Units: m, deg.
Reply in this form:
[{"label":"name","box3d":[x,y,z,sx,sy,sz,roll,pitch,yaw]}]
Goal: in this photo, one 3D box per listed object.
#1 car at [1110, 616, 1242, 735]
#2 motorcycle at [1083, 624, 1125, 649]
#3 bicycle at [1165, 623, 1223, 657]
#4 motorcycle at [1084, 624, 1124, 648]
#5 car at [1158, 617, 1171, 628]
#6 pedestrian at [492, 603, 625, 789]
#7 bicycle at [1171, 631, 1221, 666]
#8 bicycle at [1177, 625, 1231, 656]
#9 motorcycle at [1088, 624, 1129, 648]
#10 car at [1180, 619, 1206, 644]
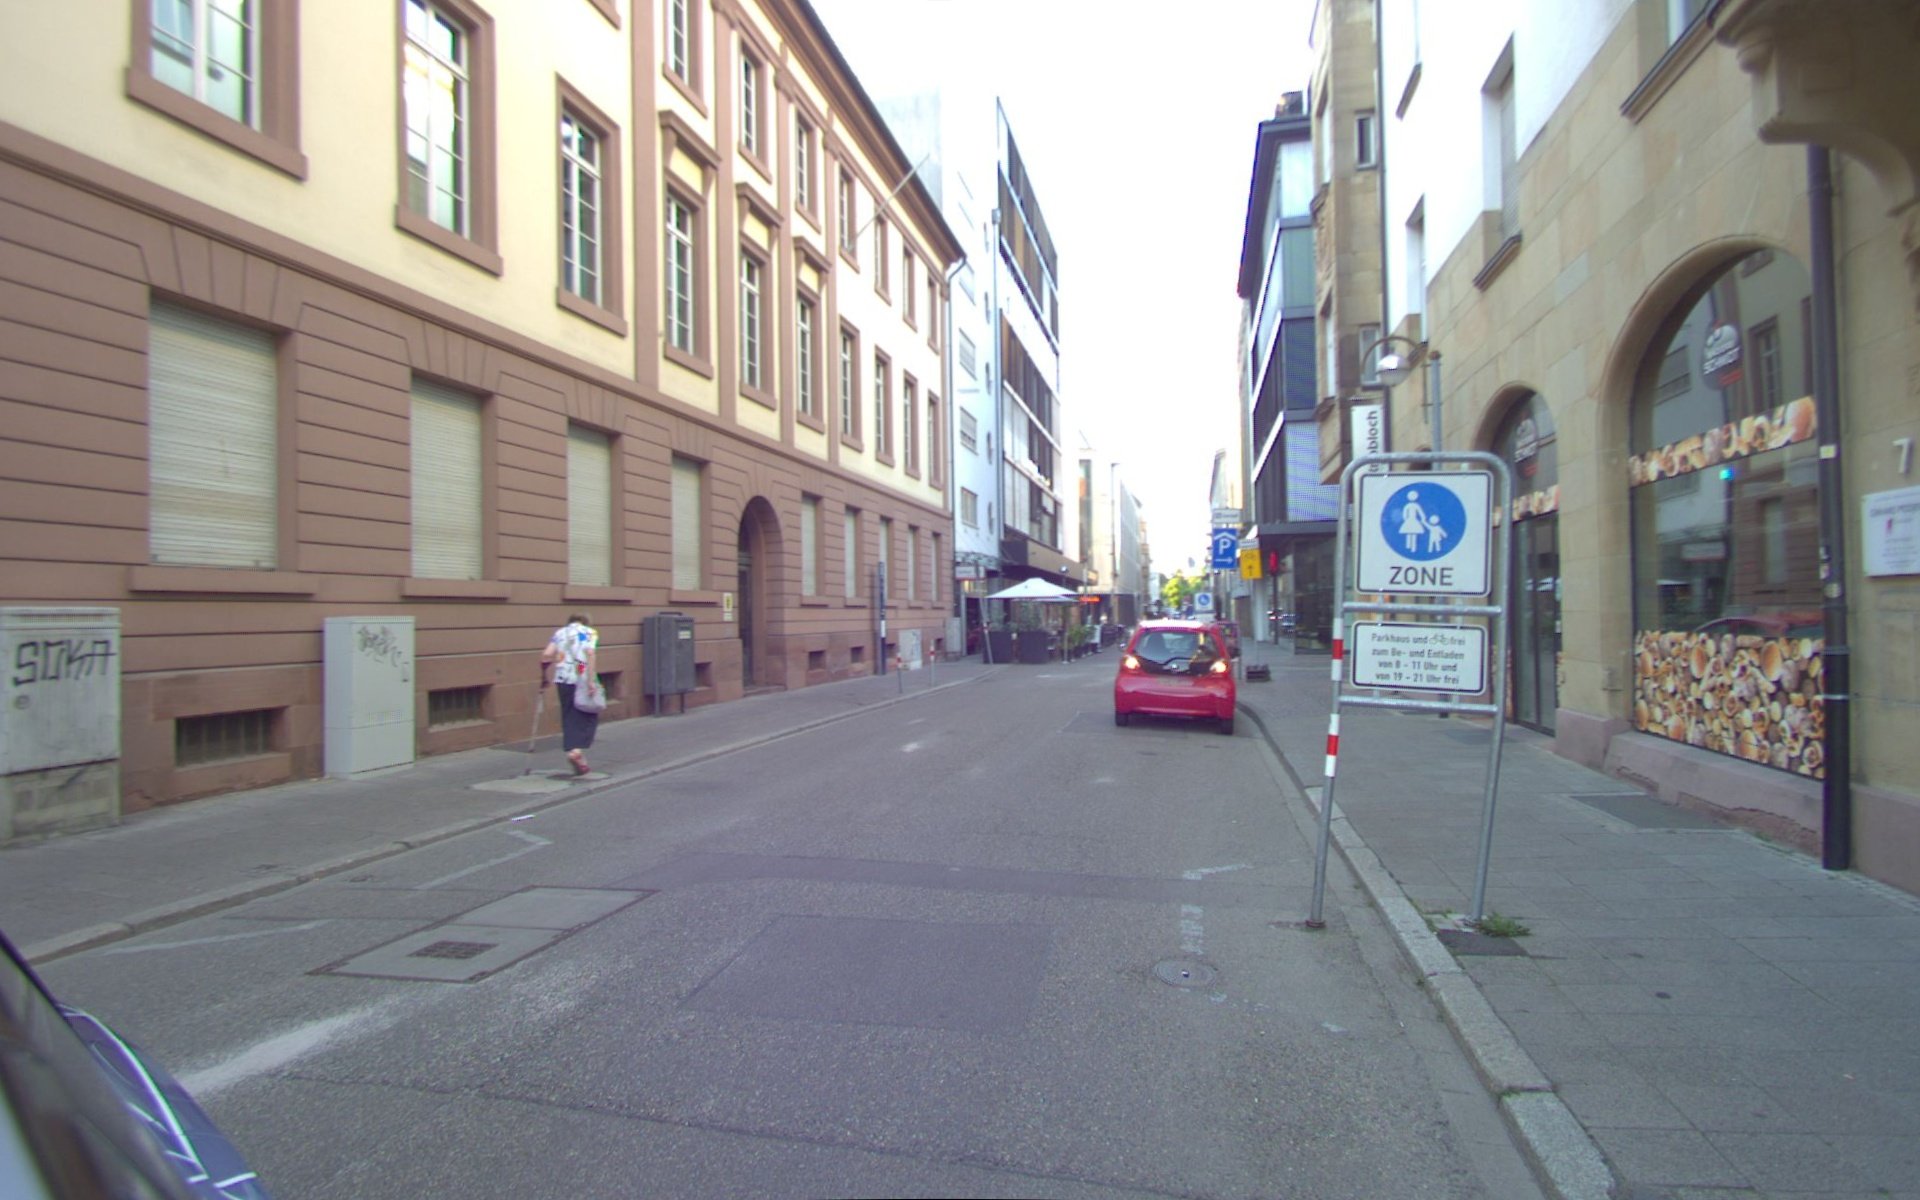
[{"label":"car","box3d":[3.143,0.999,14.590,1.623,1.452,3.142,2,-1,14]},{"label":"motorcycle","box3d":[7.773,1.962,54.607,2.174,1.292,0.648,0,-1,16]},{"label":"bicycle","box3d":[8.284,1.425,35.817,1.936,1.139,0.617,-2,-2,15]},{"label":"motorcycle","box3d":[8.159,2.027,57.260,2.174,1.292,0.648,0,-1,16]},{"label":"car","box3d":[25.859,2.799,127.952,1.412,1.310,3.548,-2,-2,13]},{"label":"pedestrian","box3d":[-3.831,0.881,9.721,0.803,1.684,0.927,0,-1,12]},{"label":"bicycle","box3d":[7.991,1.652,34.292,1.593,1.127,0.617,-2,-2,15]},{"label":"bicycle","box3d":[9.253,1.537,38.355,1.936,1.139,0.524,-2,-2,15]},{"label":"motorcycle","box3d":[8.158,1.981,55.492,2.174,1.292,0.648,0,-1,16]},{"label":"car","box3d":[14.244,1.903,61.958,1.412,1.428,3.879,-2,-2,12]}]
